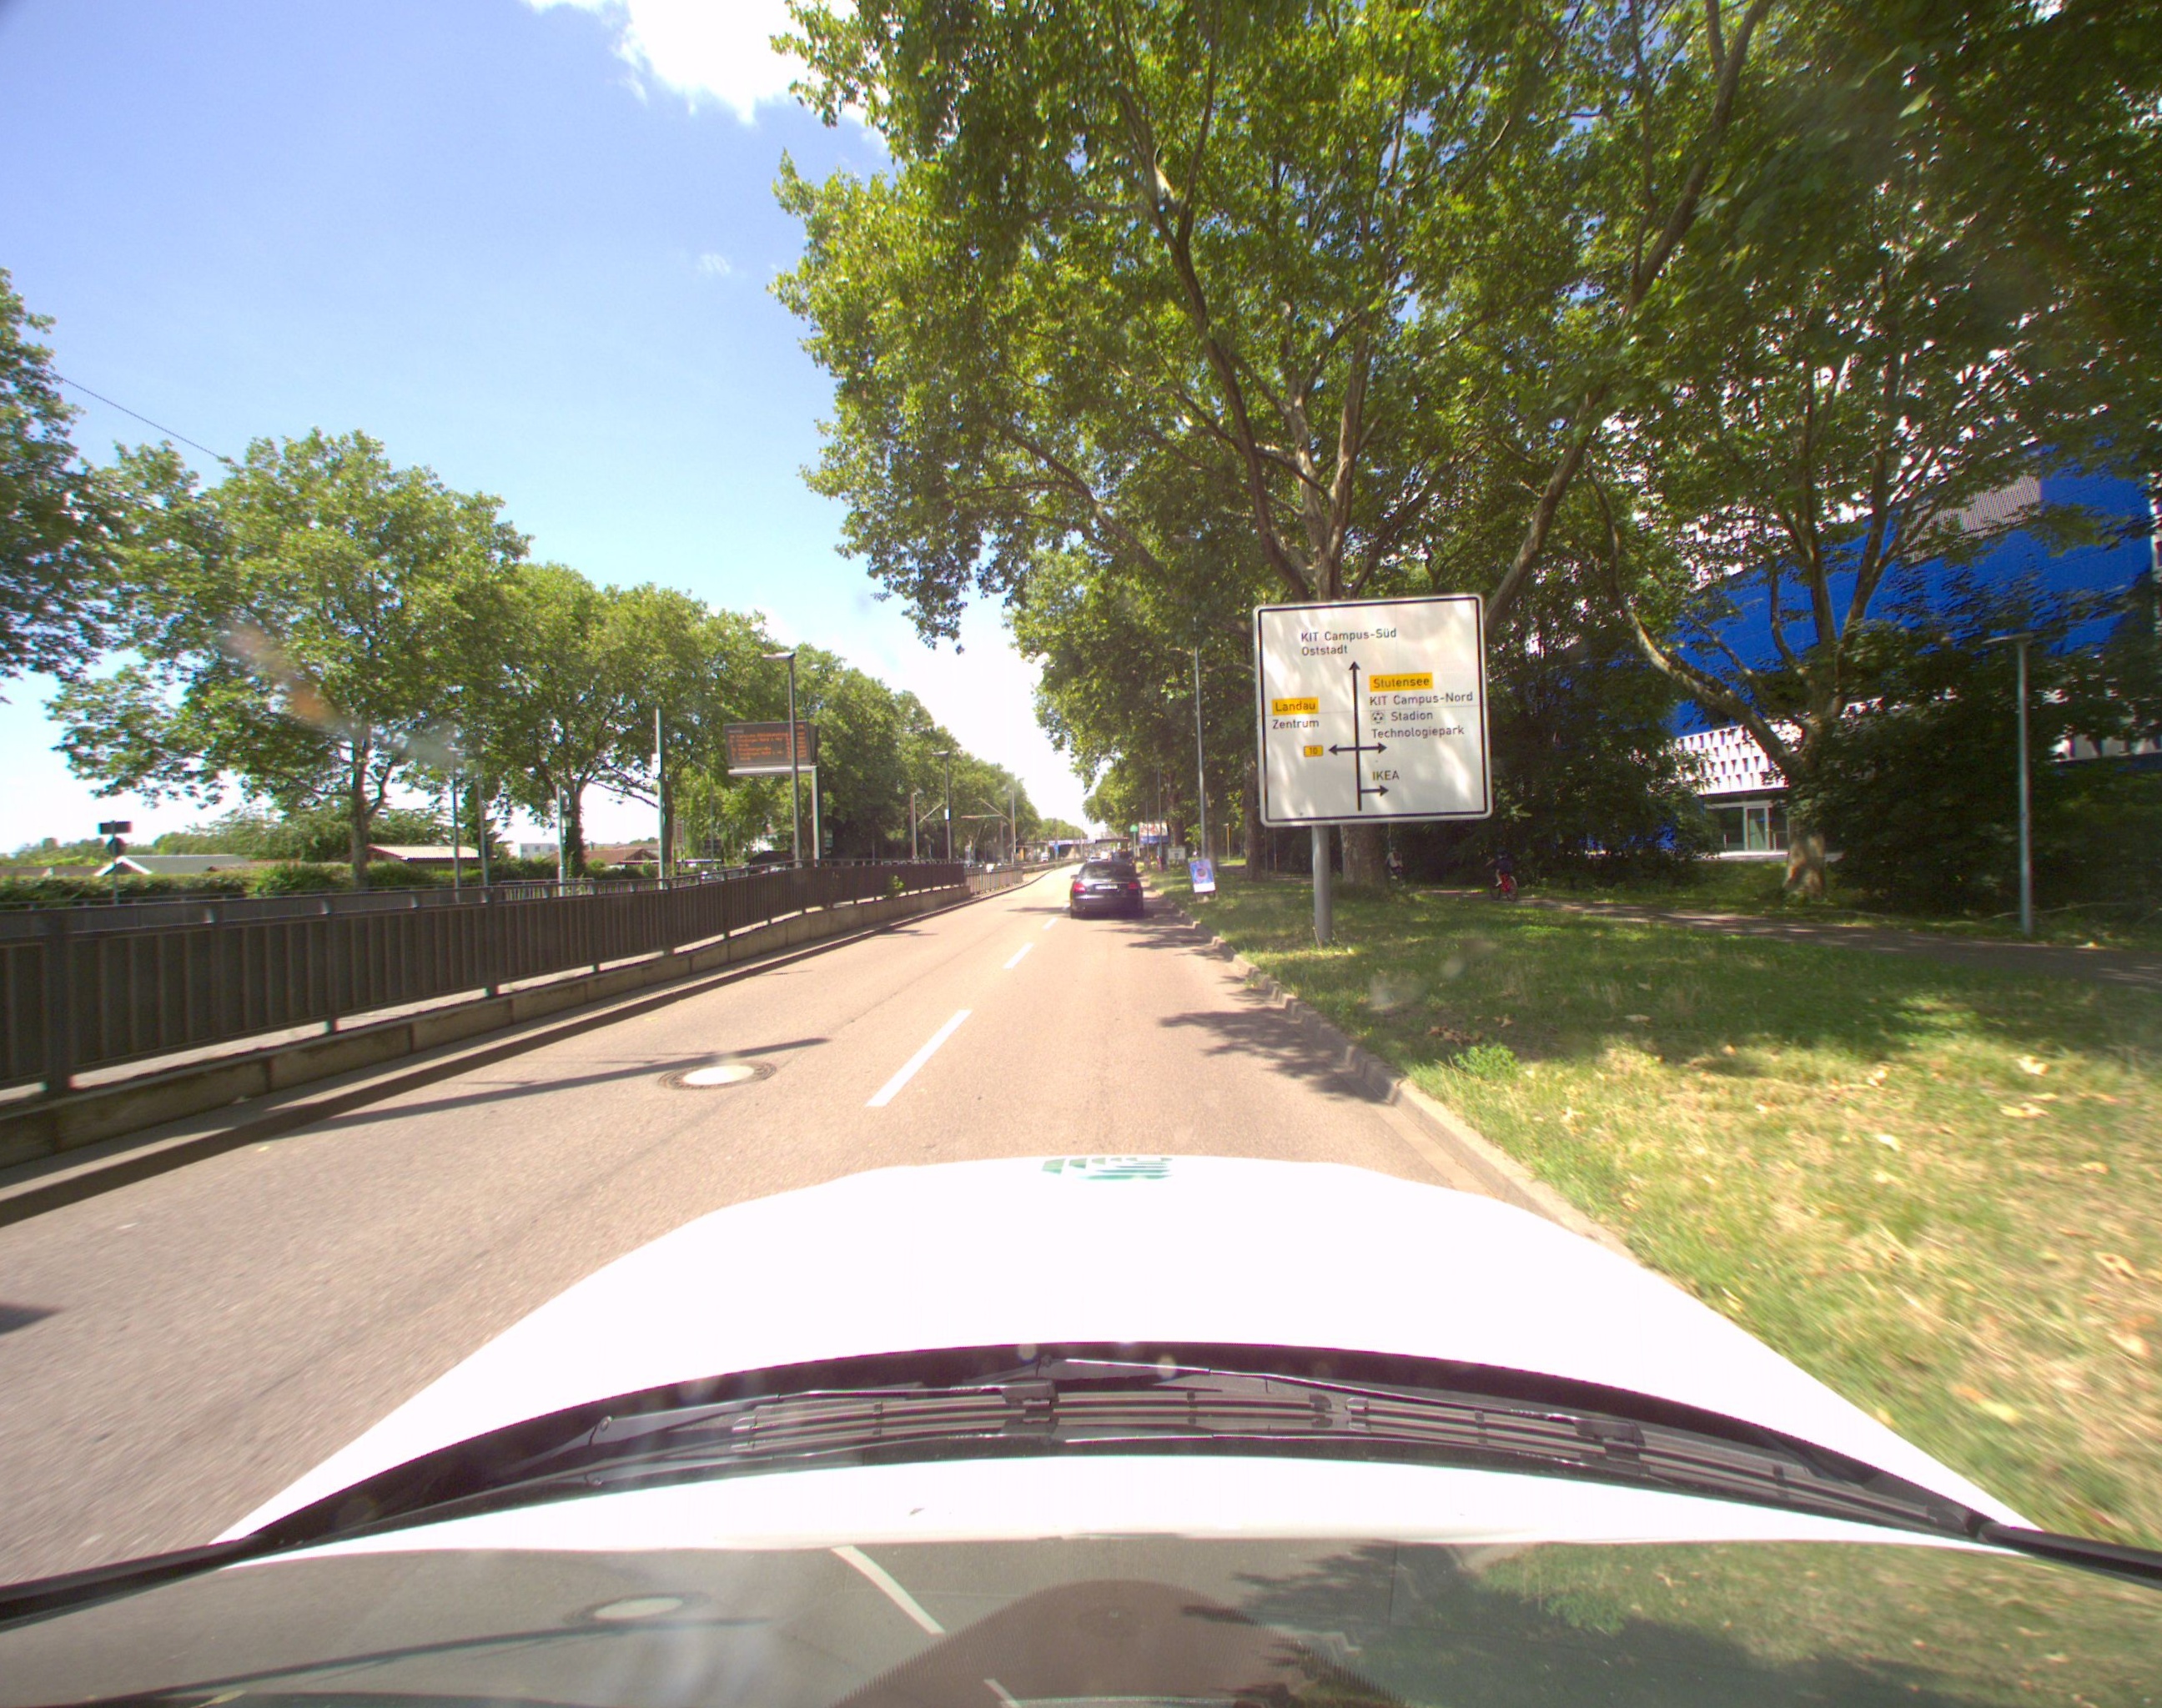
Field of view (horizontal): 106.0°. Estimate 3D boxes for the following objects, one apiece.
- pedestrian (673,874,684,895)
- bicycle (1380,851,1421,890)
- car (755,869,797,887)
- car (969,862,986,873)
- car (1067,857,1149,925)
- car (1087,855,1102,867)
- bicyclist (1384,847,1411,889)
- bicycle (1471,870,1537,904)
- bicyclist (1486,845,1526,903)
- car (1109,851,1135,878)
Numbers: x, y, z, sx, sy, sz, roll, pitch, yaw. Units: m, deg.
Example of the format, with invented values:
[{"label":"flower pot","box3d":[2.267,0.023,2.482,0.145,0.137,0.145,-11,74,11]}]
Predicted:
[{"label":"pedestrian","box3d":[-28.392,2.174,57.463,0.556,1.452,0.643,-1,-1,-12]},{"label":"bicycle","box3d":[12.375,0.626,31.628,0.608,1.420,2.663,-2,0,2]},{"label":"car","box3d":[-28.350,2.224,75.708,3.316,1.475,1.649,-2,-1,-9]},{"label":"car","box3d":[-16.130,2.117,127.383,1.736,1.684,4.389,-2,0,4]},{"label":"car","box3d":[0.609,0.882,21.235,1.838,1.484,3.997,-2,0,-2]},{"label":"car","box3d":[1.767,0.951,104.393,1.839,1.464,4.000,-2,0,0]},{"label":"bicyclist","box3d":[12.359,0.530,31.807,0.656,1.599,1.054,-2,-1,2]},{"label":"bicycle","box3d":[12.161,0.920,23.495,0.645,0.887,2.018,-2,0,-7]},{"label":"bicyclist","box3d":[12.177,0.557,23.345,0.622,1.610,0.815,-2,0,-7]},{"label":"car","box3d":[3.163,0.798,62.041,1.840,1.959,4.149,-1,0,4]}]
